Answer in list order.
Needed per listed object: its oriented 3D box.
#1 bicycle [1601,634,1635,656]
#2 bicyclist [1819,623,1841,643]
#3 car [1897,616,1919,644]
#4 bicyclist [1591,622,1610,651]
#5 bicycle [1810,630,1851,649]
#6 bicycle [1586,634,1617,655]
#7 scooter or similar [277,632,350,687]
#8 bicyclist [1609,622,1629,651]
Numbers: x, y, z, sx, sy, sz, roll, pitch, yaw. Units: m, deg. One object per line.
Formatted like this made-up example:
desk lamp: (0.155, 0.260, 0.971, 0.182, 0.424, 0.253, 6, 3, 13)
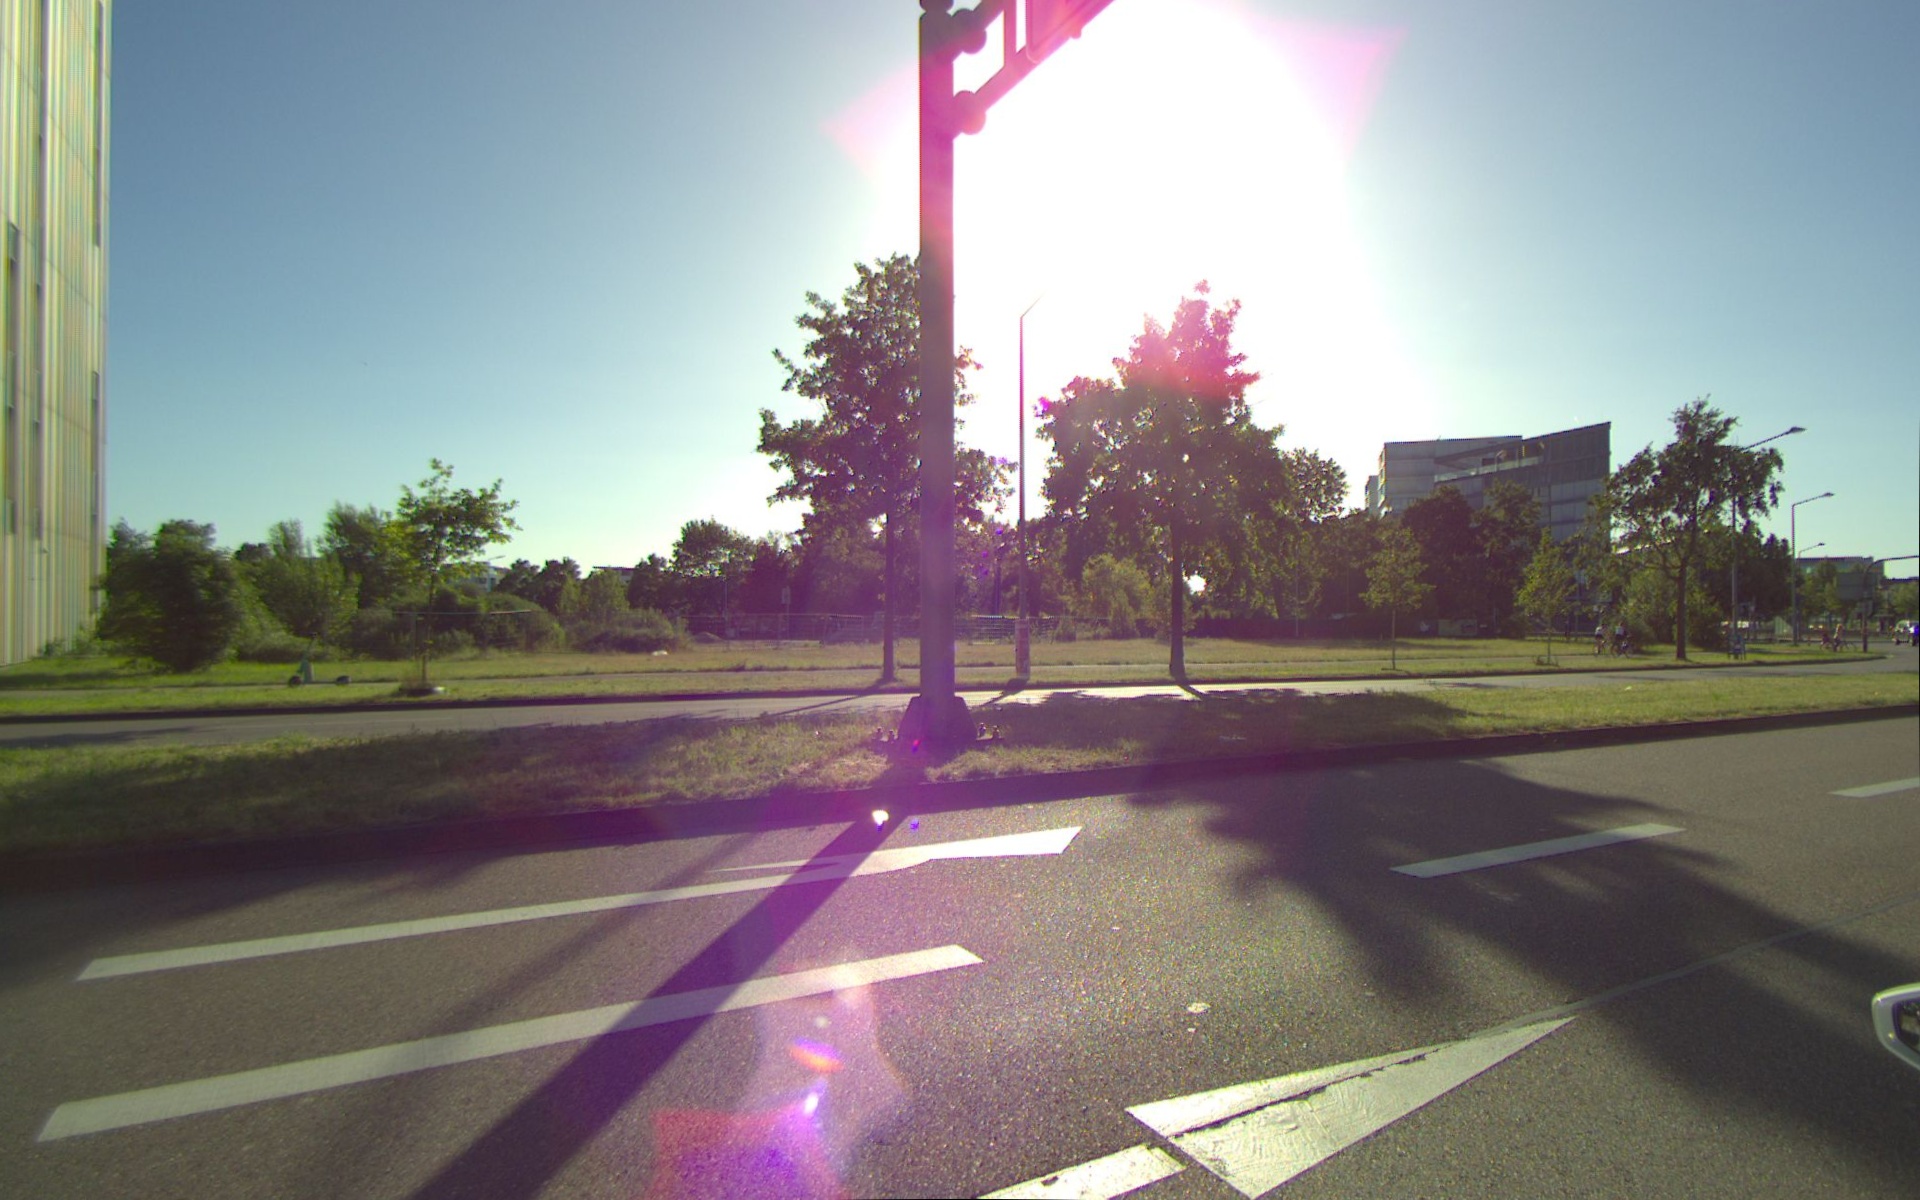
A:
bicycle: (32.126, 2.182, 49.040, 2.072, 1.016, 0.567, 1, -1, -31)
bicyclist: (50.490, 1.915, 58.300, 0.595, 1.122, 0.734, 0, -1, -17)
car: (67.862, 2.114, 70.981, 1.611, 1.901, 3.992, -1, -1, 31)
bicyclist: (32.090, 1.823, 50.318, 0.835, 1.413, 0.480, 1, -1, -31)
bicycle: (50.496, 2.280, 58.279, 0.595, 1.122, 1.726, 0, -1, -16)
bicycle: (32.171, 2.228, 50.364, 2.072, 1.016, 0.484, 1, -1, -31)
scooter or similar: (-14.045, 1.280, 21.850, 1.312, 1.164, 0.230, 1, -1, -30)
bicyclist: (32.185, 1.788, 49.081, 0.739, 1.411, 0.559, 1, -1, -31)
